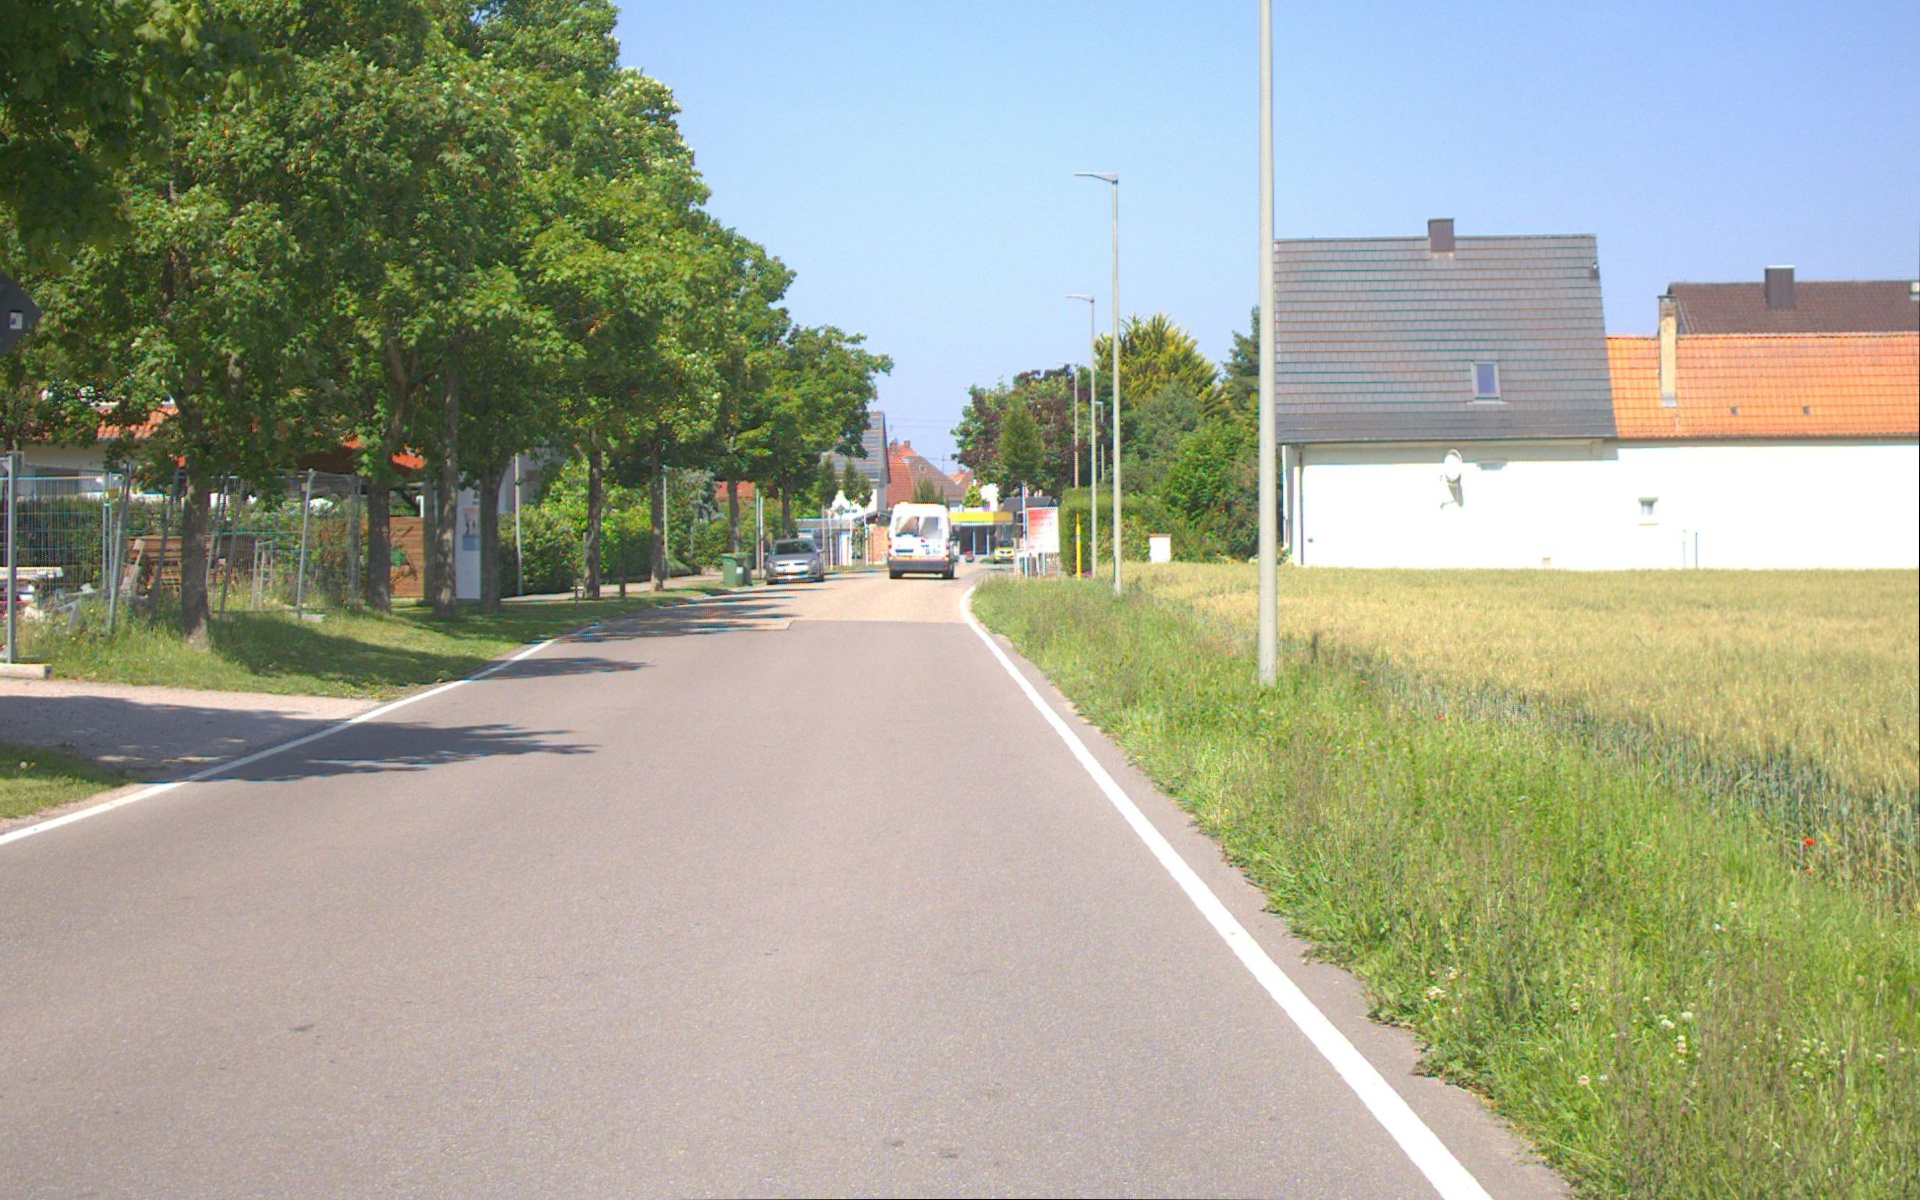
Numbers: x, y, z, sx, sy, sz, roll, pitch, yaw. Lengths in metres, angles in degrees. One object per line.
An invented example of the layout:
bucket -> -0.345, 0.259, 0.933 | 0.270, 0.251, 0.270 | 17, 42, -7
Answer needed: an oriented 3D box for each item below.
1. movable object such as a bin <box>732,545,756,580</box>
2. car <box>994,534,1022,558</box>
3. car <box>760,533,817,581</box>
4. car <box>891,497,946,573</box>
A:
movable object such as a bin -> -6.701, -1.173, 106.491 | 0.575, 1.075, 0.598 | -1, 1, 14
car -> 3.247, -3.651, 232.843 | 1.666, 1.519, 3.443 | -2, 1, -2
car -> -5.533, -1.400, 111.275 | 1.647, 1.419, 4.081 | -3, 1, -1
car -> -1.377, -2.141, 113.675 | 1.737, 2.424, 4.374 | -1, 1, -1
